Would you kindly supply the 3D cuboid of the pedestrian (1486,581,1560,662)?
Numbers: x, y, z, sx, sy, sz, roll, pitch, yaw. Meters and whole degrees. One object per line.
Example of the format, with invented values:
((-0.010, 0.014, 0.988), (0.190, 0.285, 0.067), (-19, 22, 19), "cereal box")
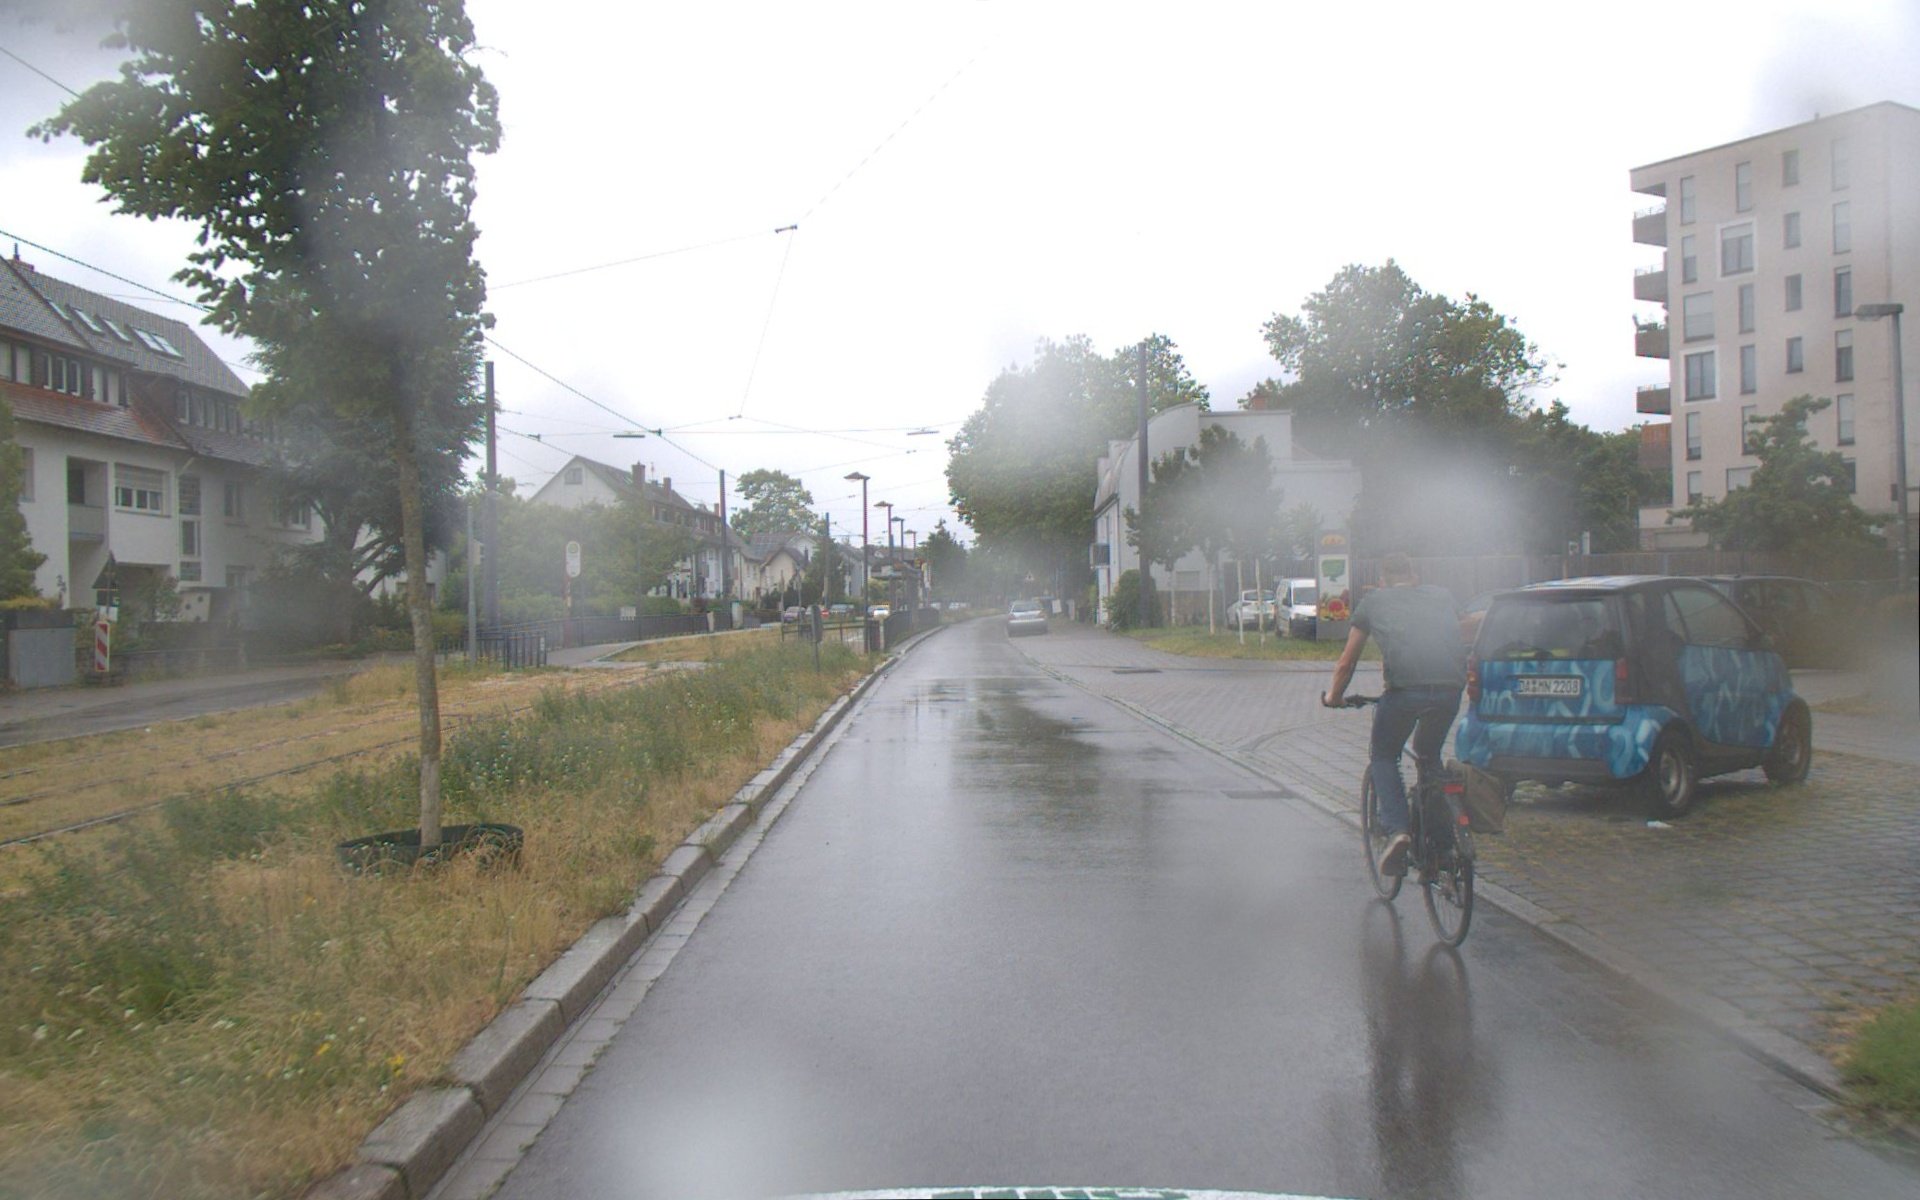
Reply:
((10.945, 0.425, 32.162), (0.826, 1.544, 1.084), (0, -1, -30), "pedestrian")

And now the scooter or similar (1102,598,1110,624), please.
((6.305, 0.478, 71.307), (0.326, 1.104, 1.396), (-1, -1, 6), "scooter or similar")

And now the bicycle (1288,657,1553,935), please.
((2.119, 0.849, 7.880), (0.526, 1.112, 1.946), (0, -1, -6), "bicycle")

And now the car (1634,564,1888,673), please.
((12.927, 0.268, 26.656), (4.058, 1.645, 1.796), (0, 0, -31), "car")

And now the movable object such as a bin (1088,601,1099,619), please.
((7.874, 0.593, 97.308), (0.525, 1.039, 0.739), (-4, -1, 0), "movable object such as a bin")

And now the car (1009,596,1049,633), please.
((2.994, 0.644, 72.559), (1.616, 1.429, 4.650), (-5, -1, 1), "car")

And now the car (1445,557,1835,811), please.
((4.865, 0.520, 11.770), (2.542, 1.575, 1.579), (-1, -1, -41), "car")

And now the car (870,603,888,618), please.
((-8.553, 1.139, 174.525), (1.599, 1.519, 4.001), (0, -1, 2), "car")

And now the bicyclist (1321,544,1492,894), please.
((2.125, 0.543, 7.937), (0.524, 1.587, 0.771), (0, -1, -7), "bicyclist")

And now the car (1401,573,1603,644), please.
((11.777, 0.202, 36.198), (1.971, 1.466, 3.963), (0, -1, -28), "car")

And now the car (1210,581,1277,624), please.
((10.577, 0.070, 61.945), (1.922, 1.561, 4.365), (0, 1, 3), "car")

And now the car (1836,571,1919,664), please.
((17.608, 0.292, 29.399), (4.058, 1.560, 1.796), (0, 0, -31), "car")

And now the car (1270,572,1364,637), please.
((10.582, 0.098, 49.328), (1.922, 1.815, 4.899), (0, 1, 2), "car")
